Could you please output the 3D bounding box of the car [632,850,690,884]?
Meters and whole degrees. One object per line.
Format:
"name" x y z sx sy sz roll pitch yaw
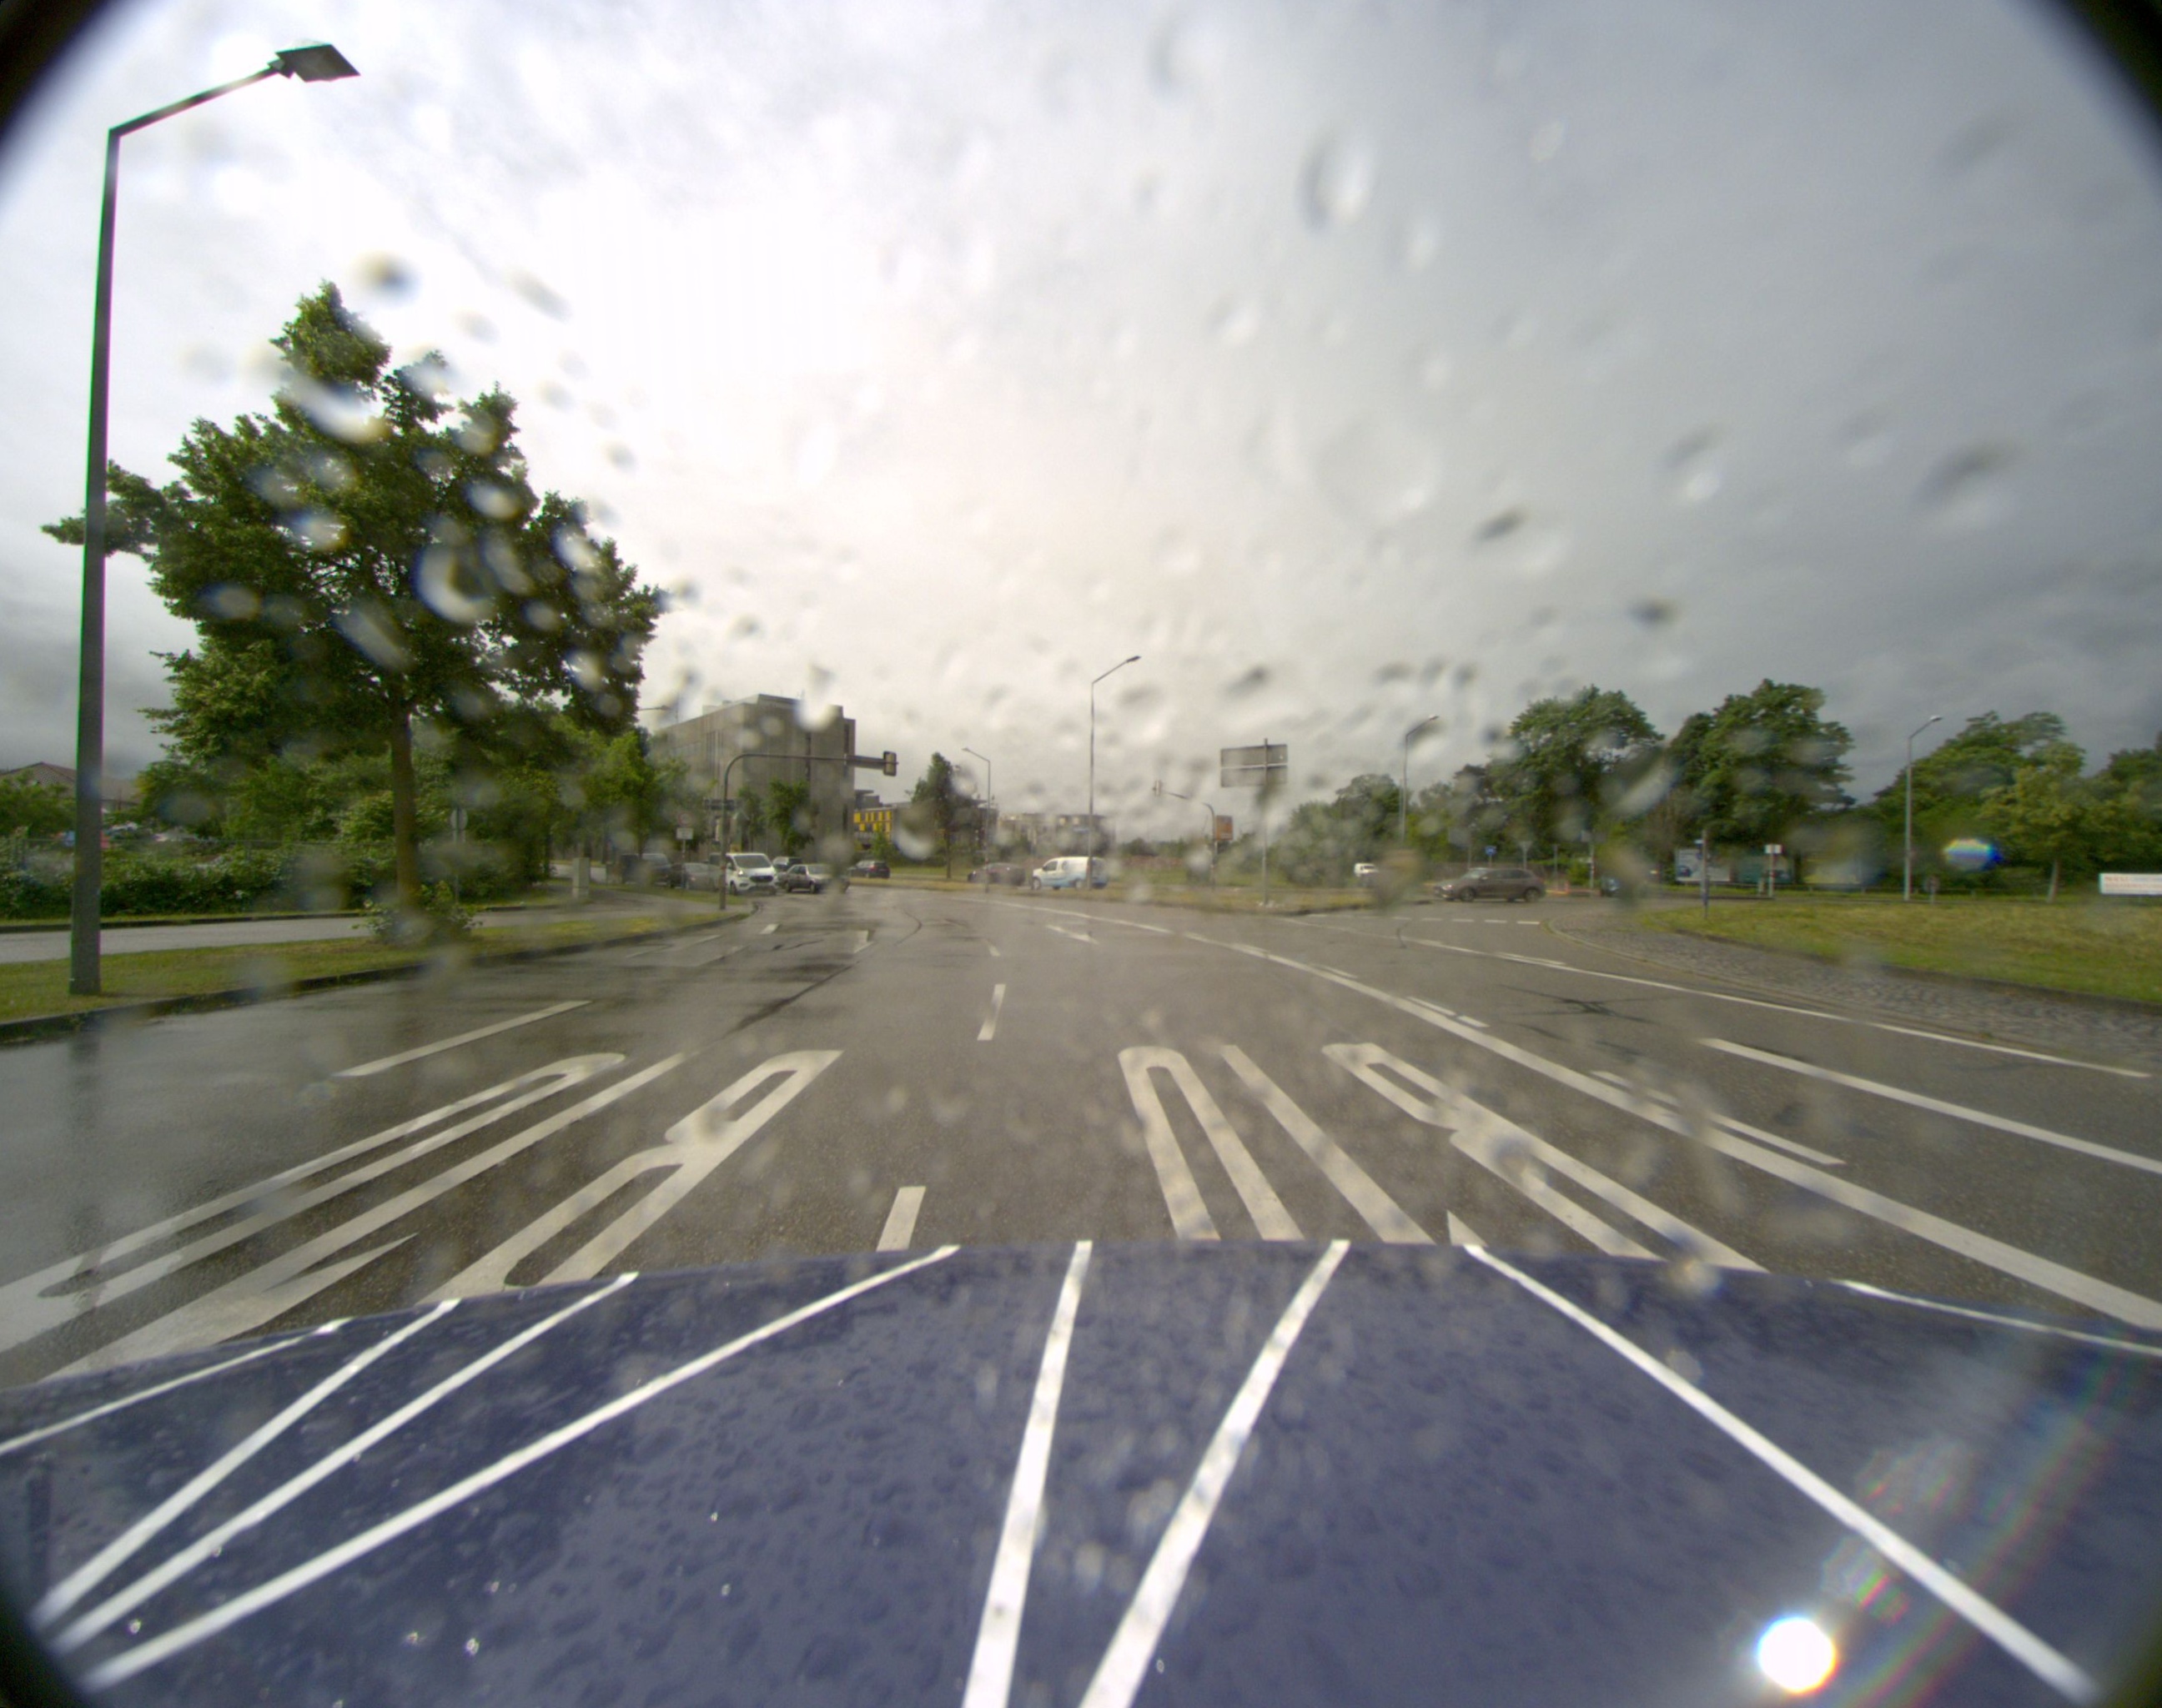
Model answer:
"car" -26.163 0.790 47.268 2.083 1.975 4.786 1 -1 -43

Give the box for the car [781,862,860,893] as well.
"car" -13.009 1.128 37.788 4.538 1.372 1.871 0 1 44

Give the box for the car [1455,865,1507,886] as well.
"car" 33.268 1.743 63.269 1.874 1.653 4.483 -1 -1 -1

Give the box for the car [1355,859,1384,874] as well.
"car" 34.250 1.515 90.434 1.874 1.653 4.485 2 -1 3

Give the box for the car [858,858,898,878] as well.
"car" -16.369 1.137 61.195 1.814 1.519 3.989 1 -1 -35

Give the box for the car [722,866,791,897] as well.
"car" -17.901 1.477 41.818 4.474 1.527 1.872 2 0 44

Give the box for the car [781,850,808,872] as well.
"car" -24.316 0.591 64.553 2.045 1.747 4.314 2 -1 -21

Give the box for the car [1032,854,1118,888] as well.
"car" -0.383 0.883 41.122 4.538 1.752 1.872 0 -1 42

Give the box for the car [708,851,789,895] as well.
"car" -15.989 0.872 36.390 2.083 1.975 4.786 1 -1 -43

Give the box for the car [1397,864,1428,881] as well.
"car" 34.181 1.955 78.437 1.873 1.653 4.488 2 -2 9

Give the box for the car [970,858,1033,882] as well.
"car" -5.726 1.133 54.356 4.486 1.647 1.879 1 -1 42

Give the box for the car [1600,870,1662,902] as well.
"car" 30.557 1.716 42.156 4.493 1.653 1.870 0 -1 -42

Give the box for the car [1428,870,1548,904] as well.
"car" 17.121 1.381 32.119 4.124 1.404 1.736 0 -1 0
